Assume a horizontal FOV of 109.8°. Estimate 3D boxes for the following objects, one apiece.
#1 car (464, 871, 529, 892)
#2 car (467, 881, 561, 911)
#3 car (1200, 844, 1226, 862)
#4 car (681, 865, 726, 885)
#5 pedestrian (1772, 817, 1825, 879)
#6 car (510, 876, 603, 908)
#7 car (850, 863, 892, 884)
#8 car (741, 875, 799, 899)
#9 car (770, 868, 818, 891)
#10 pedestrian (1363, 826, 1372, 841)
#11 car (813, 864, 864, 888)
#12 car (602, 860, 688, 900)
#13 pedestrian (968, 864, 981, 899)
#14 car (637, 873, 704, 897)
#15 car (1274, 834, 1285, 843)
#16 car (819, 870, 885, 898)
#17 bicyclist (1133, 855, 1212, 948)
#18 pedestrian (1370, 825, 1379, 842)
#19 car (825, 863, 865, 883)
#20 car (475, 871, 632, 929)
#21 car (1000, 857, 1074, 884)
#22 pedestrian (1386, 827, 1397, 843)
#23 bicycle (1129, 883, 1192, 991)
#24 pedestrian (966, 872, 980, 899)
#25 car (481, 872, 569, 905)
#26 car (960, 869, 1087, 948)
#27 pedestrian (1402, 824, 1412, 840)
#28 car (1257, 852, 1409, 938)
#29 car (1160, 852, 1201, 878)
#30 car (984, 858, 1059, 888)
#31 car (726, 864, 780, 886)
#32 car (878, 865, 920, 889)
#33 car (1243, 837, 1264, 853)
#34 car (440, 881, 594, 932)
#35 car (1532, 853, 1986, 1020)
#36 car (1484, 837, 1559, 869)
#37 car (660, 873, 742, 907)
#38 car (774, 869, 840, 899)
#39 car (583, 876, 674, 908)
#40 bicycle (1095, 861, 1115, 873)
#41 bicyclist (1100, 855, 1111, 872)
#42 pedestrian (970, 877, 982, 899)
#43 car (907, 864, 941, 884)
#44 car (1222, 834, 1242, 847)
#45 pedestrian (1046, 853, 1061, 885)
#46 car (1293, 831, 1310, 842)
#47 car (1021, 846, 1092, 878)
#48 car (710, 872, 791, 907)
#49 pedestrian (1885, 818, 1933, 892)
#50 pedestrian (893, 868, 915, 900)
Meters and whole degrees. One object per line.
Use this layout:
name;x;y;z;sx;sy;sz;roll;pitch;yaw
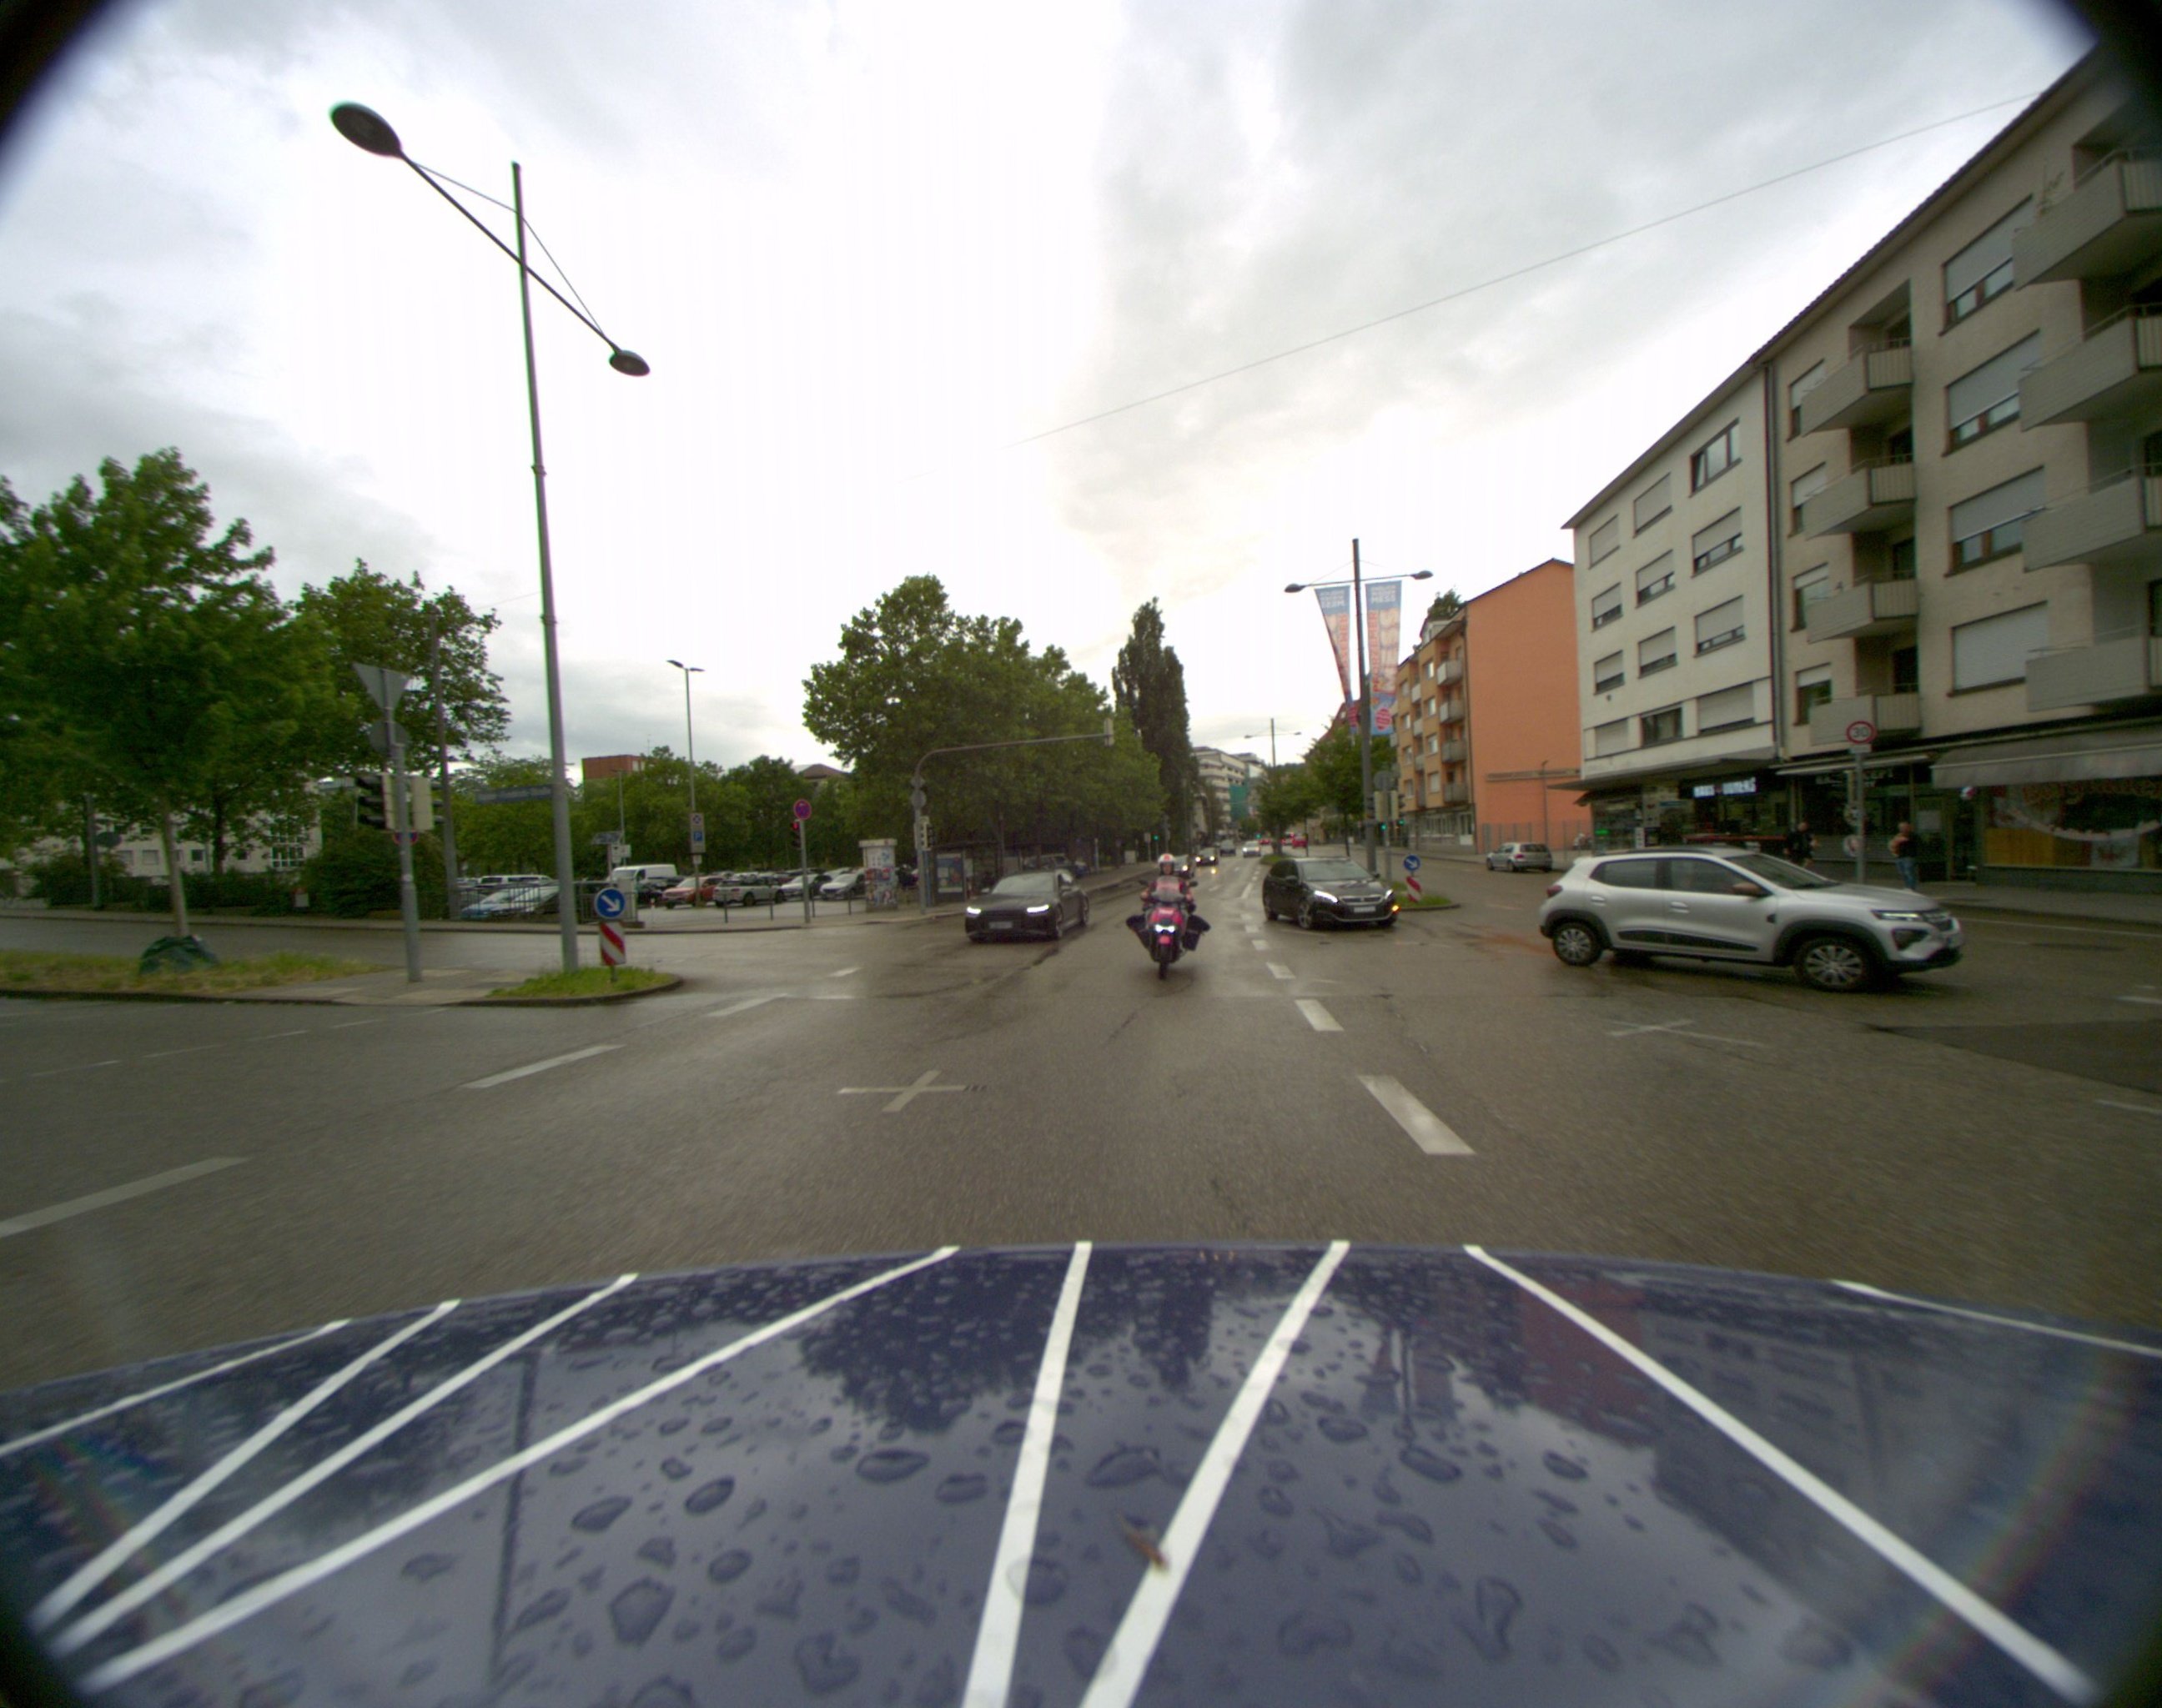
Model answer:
car;-51.756;2.422;67.368;1.638;1.416;4.511;-4;1;10
car;-31.546;2.302;42.416;1.658;1.436;4.005;-2;0;16
car;11.175;-0.105;64.221;1.894;1.413;4.365;-1;1;13
car;-32.675;1.818;65.934;1.530;1.583;3.614;-2;0;12
pedestrian;21.141;-0.174;22.392;0.779;1.719;0.661;-6;0;13
car;-29.048;2.079;42.256;1.759;1.557;4.005;-2;0;16
car;-17.025;1.579;61.745;1.529;1.583;3.615;-2;0;16
car;-18.563;1.942;45.487;1.530;1.229;3.358;-2;0;11
car;-21.040;1.844;55.794;1.530;1.495;3.636;-2;0;11
pedestrian;32.960;-2.367;87.319;0.766;1.686;0.800;-3;2;9
car;-17.883;1.604;56.180;1.615;1.555;4.058;-2;0;15
car;-27.273;1.591;47.778;1.970;2.306;5.016;-2;0;8
pedestrian;-5.238;1.348;37.220;0.541;1.685;0.554;-3;0;-8
car;-24.535;1.845;45.518;1.530;1.229;3.636;-2;0;11
car;35.372;-2.790;135.544;1.569;1.385;3.836;-1;2;10
car;-13.068;1.689;43.703;1.736;1.432;4.448;-2;0;11
bicyclist;1.295;0.657;10.686;0.962;1.218;0.716;-4;-2;12
pedestrian;32.233;-2.240;83.438;0.745;1.876;0.800;-3;2;9
car;-19.438;1.565;62.789;1.530;1.549;3.636;-2;0;11
car;-17.781;1.506;25.914;1.803;1.603;4.265;-2;1;11
car;-3.081;1.146;53.675;4.746;1.397;1.864;-6;1;15
pedestrian;29.962;-1.800;73.325;0.560;1.433;0.609;-7;1;-8
bicycle;1.176;1.095;10.782;0.716;1.297;2.430;-1;-1;10
pedestrian;-5.178;1.508;36.367;0.499;1.263;0.402;-3;0;14
car;-34.790;2.109;47.719;1.831;1.819;4.367;-2;0;10
car;-1.138;1.129;17.256;1.895;1.396;4.363;-1;1;9
pedestrian;34.790;-2.346;81.098;0.747;1.681;0.682;-3;2;-21
car;5.261;0.773;16.535;1.803;1.426;4.395;-4;1;0
car;6.219;0.652;47.070;1.894;1.391;4.365;-1;1;16
car;-3.865;1.259;49.767;4.409;1.476;1.864;-5;1;9
car;-27.619;1.705;64.093;1.970;1.660;4.634;-2;0;8
car;-13.150;1.624;55.053;1.638;1.414;3.356;-3;2;10
car;17.918;-0.980;78.727;1.894;1.567;4.365;-1;1;16
car;-20.239;1.838;27.518;1.854;1.432;4.265;-2;1;11
car;7.569;0.780;8.895;1.544;1.453;3.622;-3;1;-27
car;20.774;-0.082;36.043;1.679;1.384;4.154;-1;1;9
car;-20.032;1.877;40.218;1.760;1.581;4.003;-2;0;11
car;-15.903;1.720;44.313;1.760;1.581;4.003;-2;0;11
car;-24.006;2.004;40.449;1.759;1.440;4.005;-2;0;16
bicycle;2.552;1.395;80.226;1.932;1.088;0.649;-4;2;-4
bicyclist;2.631;0.995;80.187;0.987;1.760;0.796;-4;2;-4
pedestrian;-5.087;1.638;36.750;0.401;1.028;0.371;-3;0;15
car;-12.490;1.586;60.663;1.530;1.419;3.839;-2;0;7
car;17.488;-1.541;87.966;1.894;1.480;4.365;-1;1;16
pedestrian;-1.682;0.887;46.041;0.734;1.831;0.757;-5;2;-5
car;28.975;-2.309;99.996;1.606;1.422;3.947;-1;2;9
car;-1.820;0.608;57.589;4.843;1.931;1.952;-6;1;15
car;-17.109;1.784;39.570;1.760;1.581;4.180;-2;0;11
pedestrian;20.090;0.024;18.449;0.453;1.720;0.525;-6;0;14
pedestrian;-9.496;1.617;40.857;0.766;1.623;0.862;-3;0;14
